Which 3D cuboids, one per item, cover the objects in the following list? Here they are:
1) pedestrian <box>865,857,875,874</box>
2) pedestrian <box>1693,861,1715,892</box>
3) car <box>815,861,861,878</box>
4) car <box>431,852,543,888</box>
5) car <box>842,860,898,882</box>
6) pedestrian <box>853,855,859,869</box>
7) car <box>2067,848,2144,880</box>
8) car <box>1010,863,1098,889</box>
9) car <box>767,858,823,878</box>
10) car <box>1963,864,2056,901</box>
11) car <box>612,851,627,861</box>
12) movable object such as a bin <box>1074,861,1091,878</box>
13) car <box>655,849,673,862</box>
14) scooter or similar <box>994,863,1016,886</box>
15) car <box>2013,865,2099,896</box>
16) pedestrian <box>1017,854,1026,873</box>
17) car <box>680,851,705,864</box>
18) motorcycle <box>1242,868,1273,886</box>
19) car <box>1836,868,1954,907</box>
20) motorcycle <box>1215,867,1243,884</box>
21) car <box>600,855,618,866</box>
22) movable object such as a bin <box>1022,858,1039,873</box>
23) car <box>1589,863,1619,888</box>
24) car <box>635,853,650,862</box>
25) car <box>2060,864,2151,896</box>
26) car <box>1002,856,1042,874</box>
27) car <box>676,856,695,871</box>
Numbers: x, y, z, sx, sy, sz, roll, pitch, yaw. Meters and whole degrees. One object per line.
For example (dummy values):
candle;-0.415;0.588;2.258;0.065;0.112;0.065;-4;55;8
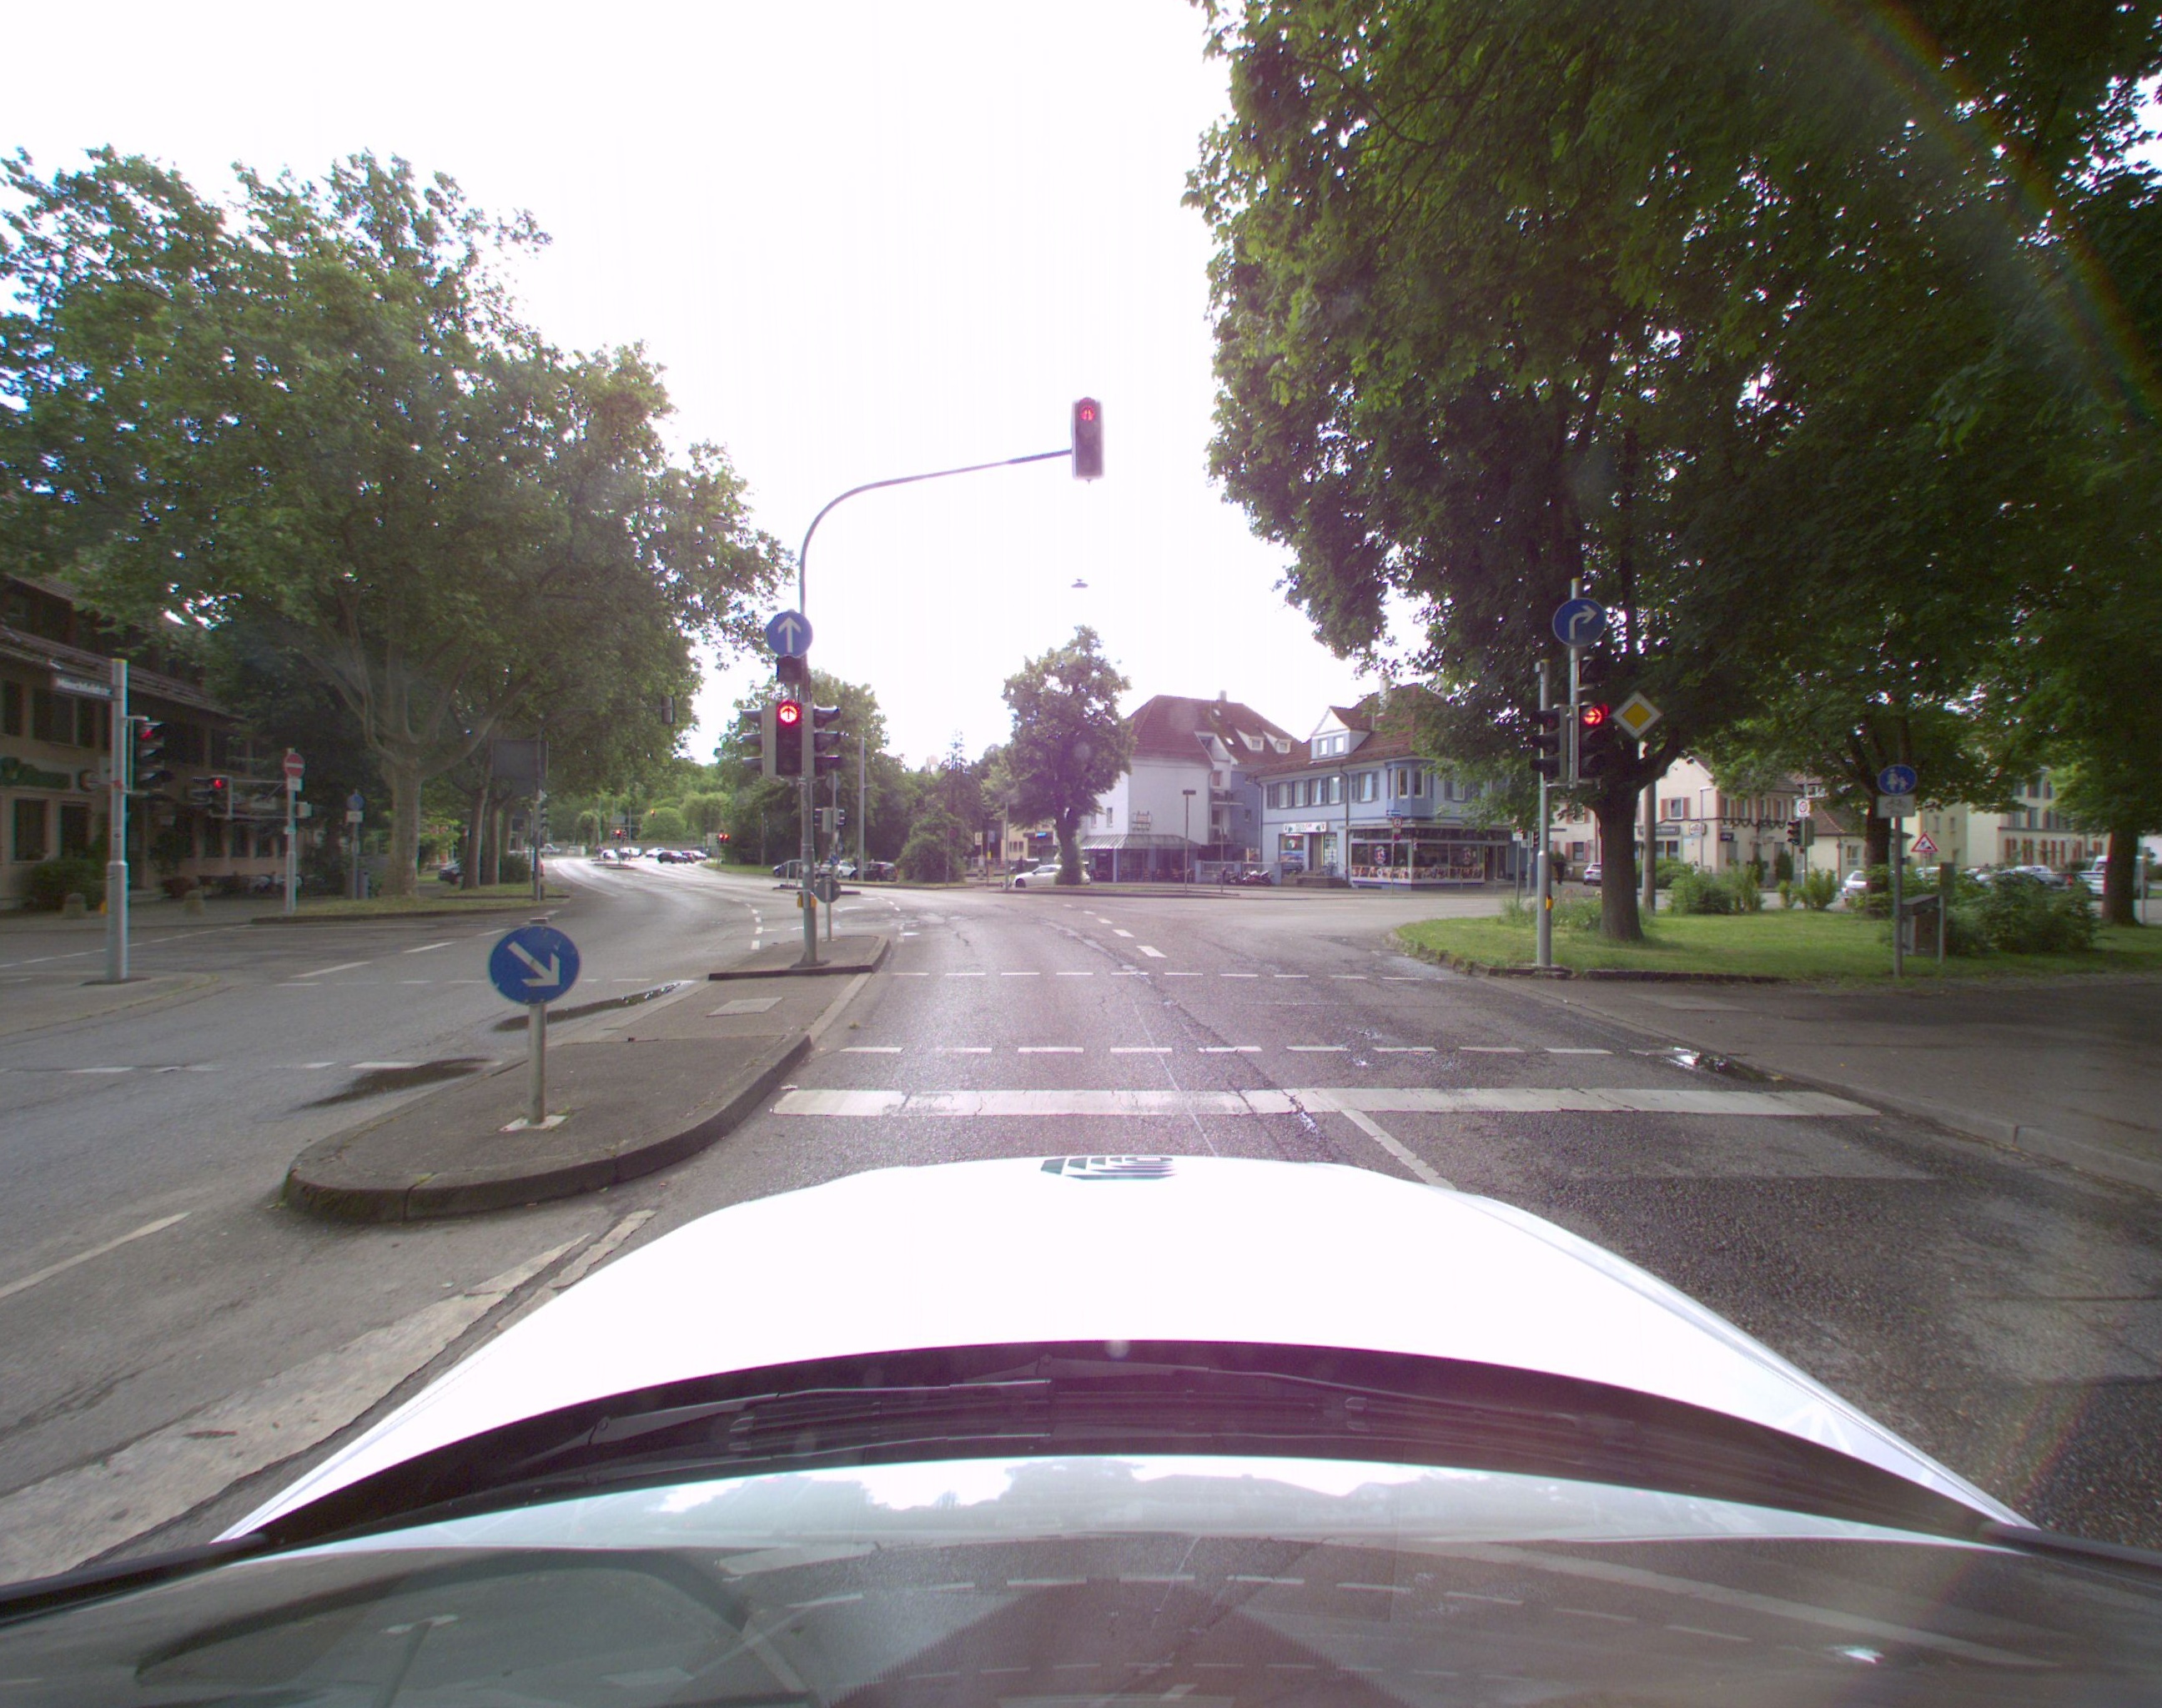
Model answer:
pedestrian;-19.232;1.077;74.226;0.687;1.551;0.736;1;0;-30
pedestrian;33.927;1.219;44.374;0.648;1.697;0.750;1;-1;-27
car;-20.090;1.258;67.516;1.746;1.380;4.278;1;0;14
car;-36.718;0.927;50.480;2.058;1.931;5.276;0;2;42
car;-14.004;1.099;54.034;3.450;1.404;1.583;1;0;30
pedestrian;-24.632;0.877;89.076;0.512;1.531;0.773;1;-1;-20
car;79.460;0.802;63.151;5.966;2.392;2.318;0;-1;-24
car;-1.561;1.230;46.000;4.726;1.386;2.013;-1;-1;36
car;-22.774;1.105;64.749;4.063;1.429;1.743;2;0;24
car;42.248;1.250;37.058;4.008;1.572;1.857;0;-1;-27
car;-77.627;0.348;137.063;1.805;1.586;4.379;-2;2;-25
movable object such as a bin;0.131;1.351;70.611;1.218;1.395;1.153;0;-1;-20
car;-48.678;0.147;95.092;1.833;1.509;4.532;-1;0;-28
scooter or similar;-3.997;1.101;42.988;0.407;1.167;1.370;0;-3;28
car;46.949;1.251;39.204;3.746;1.390;1.725;0;-1;-24
pedestrian;-5.470;0.860;74.865;0.691;1.729;0.605;0;-1;-30
car;-60.863;0.499;127.649;3.354;2.014;1.679;0;-1;-18
motorcycle;10.453;1.358;48.216;1.800;0.985;0.525;-1;-1;45
car;32.942;1.307;32.947;4.552;1.456;1.885;0;-1;-24
motorcycle;9.071;1.328;49.984;1.703;1.031;0.492;-1;-1;45
car;-71.075;0.959;122.617;1.770;1.466;3.990;6;-3;-24
movable object such as a bin;-4.615;1.034;74.188;1.223;1.345;0.986;0;-1;-30
car;32.455;1.311;50.598;1.551;1.462;3.461;0;0;32
car;-85.077;0.755;157.930;2.001;1.655;4.395;0;1;-22
car;52.707;1.304;41.894;4.408;1.456;1.910;-1;0;-24
car;-5.478;0.995;76.061;3.428;1.630;1.612;0;0;-23
car;-51.467;1.242;106.042;2.001;1.926;3.970;0;0;-22
